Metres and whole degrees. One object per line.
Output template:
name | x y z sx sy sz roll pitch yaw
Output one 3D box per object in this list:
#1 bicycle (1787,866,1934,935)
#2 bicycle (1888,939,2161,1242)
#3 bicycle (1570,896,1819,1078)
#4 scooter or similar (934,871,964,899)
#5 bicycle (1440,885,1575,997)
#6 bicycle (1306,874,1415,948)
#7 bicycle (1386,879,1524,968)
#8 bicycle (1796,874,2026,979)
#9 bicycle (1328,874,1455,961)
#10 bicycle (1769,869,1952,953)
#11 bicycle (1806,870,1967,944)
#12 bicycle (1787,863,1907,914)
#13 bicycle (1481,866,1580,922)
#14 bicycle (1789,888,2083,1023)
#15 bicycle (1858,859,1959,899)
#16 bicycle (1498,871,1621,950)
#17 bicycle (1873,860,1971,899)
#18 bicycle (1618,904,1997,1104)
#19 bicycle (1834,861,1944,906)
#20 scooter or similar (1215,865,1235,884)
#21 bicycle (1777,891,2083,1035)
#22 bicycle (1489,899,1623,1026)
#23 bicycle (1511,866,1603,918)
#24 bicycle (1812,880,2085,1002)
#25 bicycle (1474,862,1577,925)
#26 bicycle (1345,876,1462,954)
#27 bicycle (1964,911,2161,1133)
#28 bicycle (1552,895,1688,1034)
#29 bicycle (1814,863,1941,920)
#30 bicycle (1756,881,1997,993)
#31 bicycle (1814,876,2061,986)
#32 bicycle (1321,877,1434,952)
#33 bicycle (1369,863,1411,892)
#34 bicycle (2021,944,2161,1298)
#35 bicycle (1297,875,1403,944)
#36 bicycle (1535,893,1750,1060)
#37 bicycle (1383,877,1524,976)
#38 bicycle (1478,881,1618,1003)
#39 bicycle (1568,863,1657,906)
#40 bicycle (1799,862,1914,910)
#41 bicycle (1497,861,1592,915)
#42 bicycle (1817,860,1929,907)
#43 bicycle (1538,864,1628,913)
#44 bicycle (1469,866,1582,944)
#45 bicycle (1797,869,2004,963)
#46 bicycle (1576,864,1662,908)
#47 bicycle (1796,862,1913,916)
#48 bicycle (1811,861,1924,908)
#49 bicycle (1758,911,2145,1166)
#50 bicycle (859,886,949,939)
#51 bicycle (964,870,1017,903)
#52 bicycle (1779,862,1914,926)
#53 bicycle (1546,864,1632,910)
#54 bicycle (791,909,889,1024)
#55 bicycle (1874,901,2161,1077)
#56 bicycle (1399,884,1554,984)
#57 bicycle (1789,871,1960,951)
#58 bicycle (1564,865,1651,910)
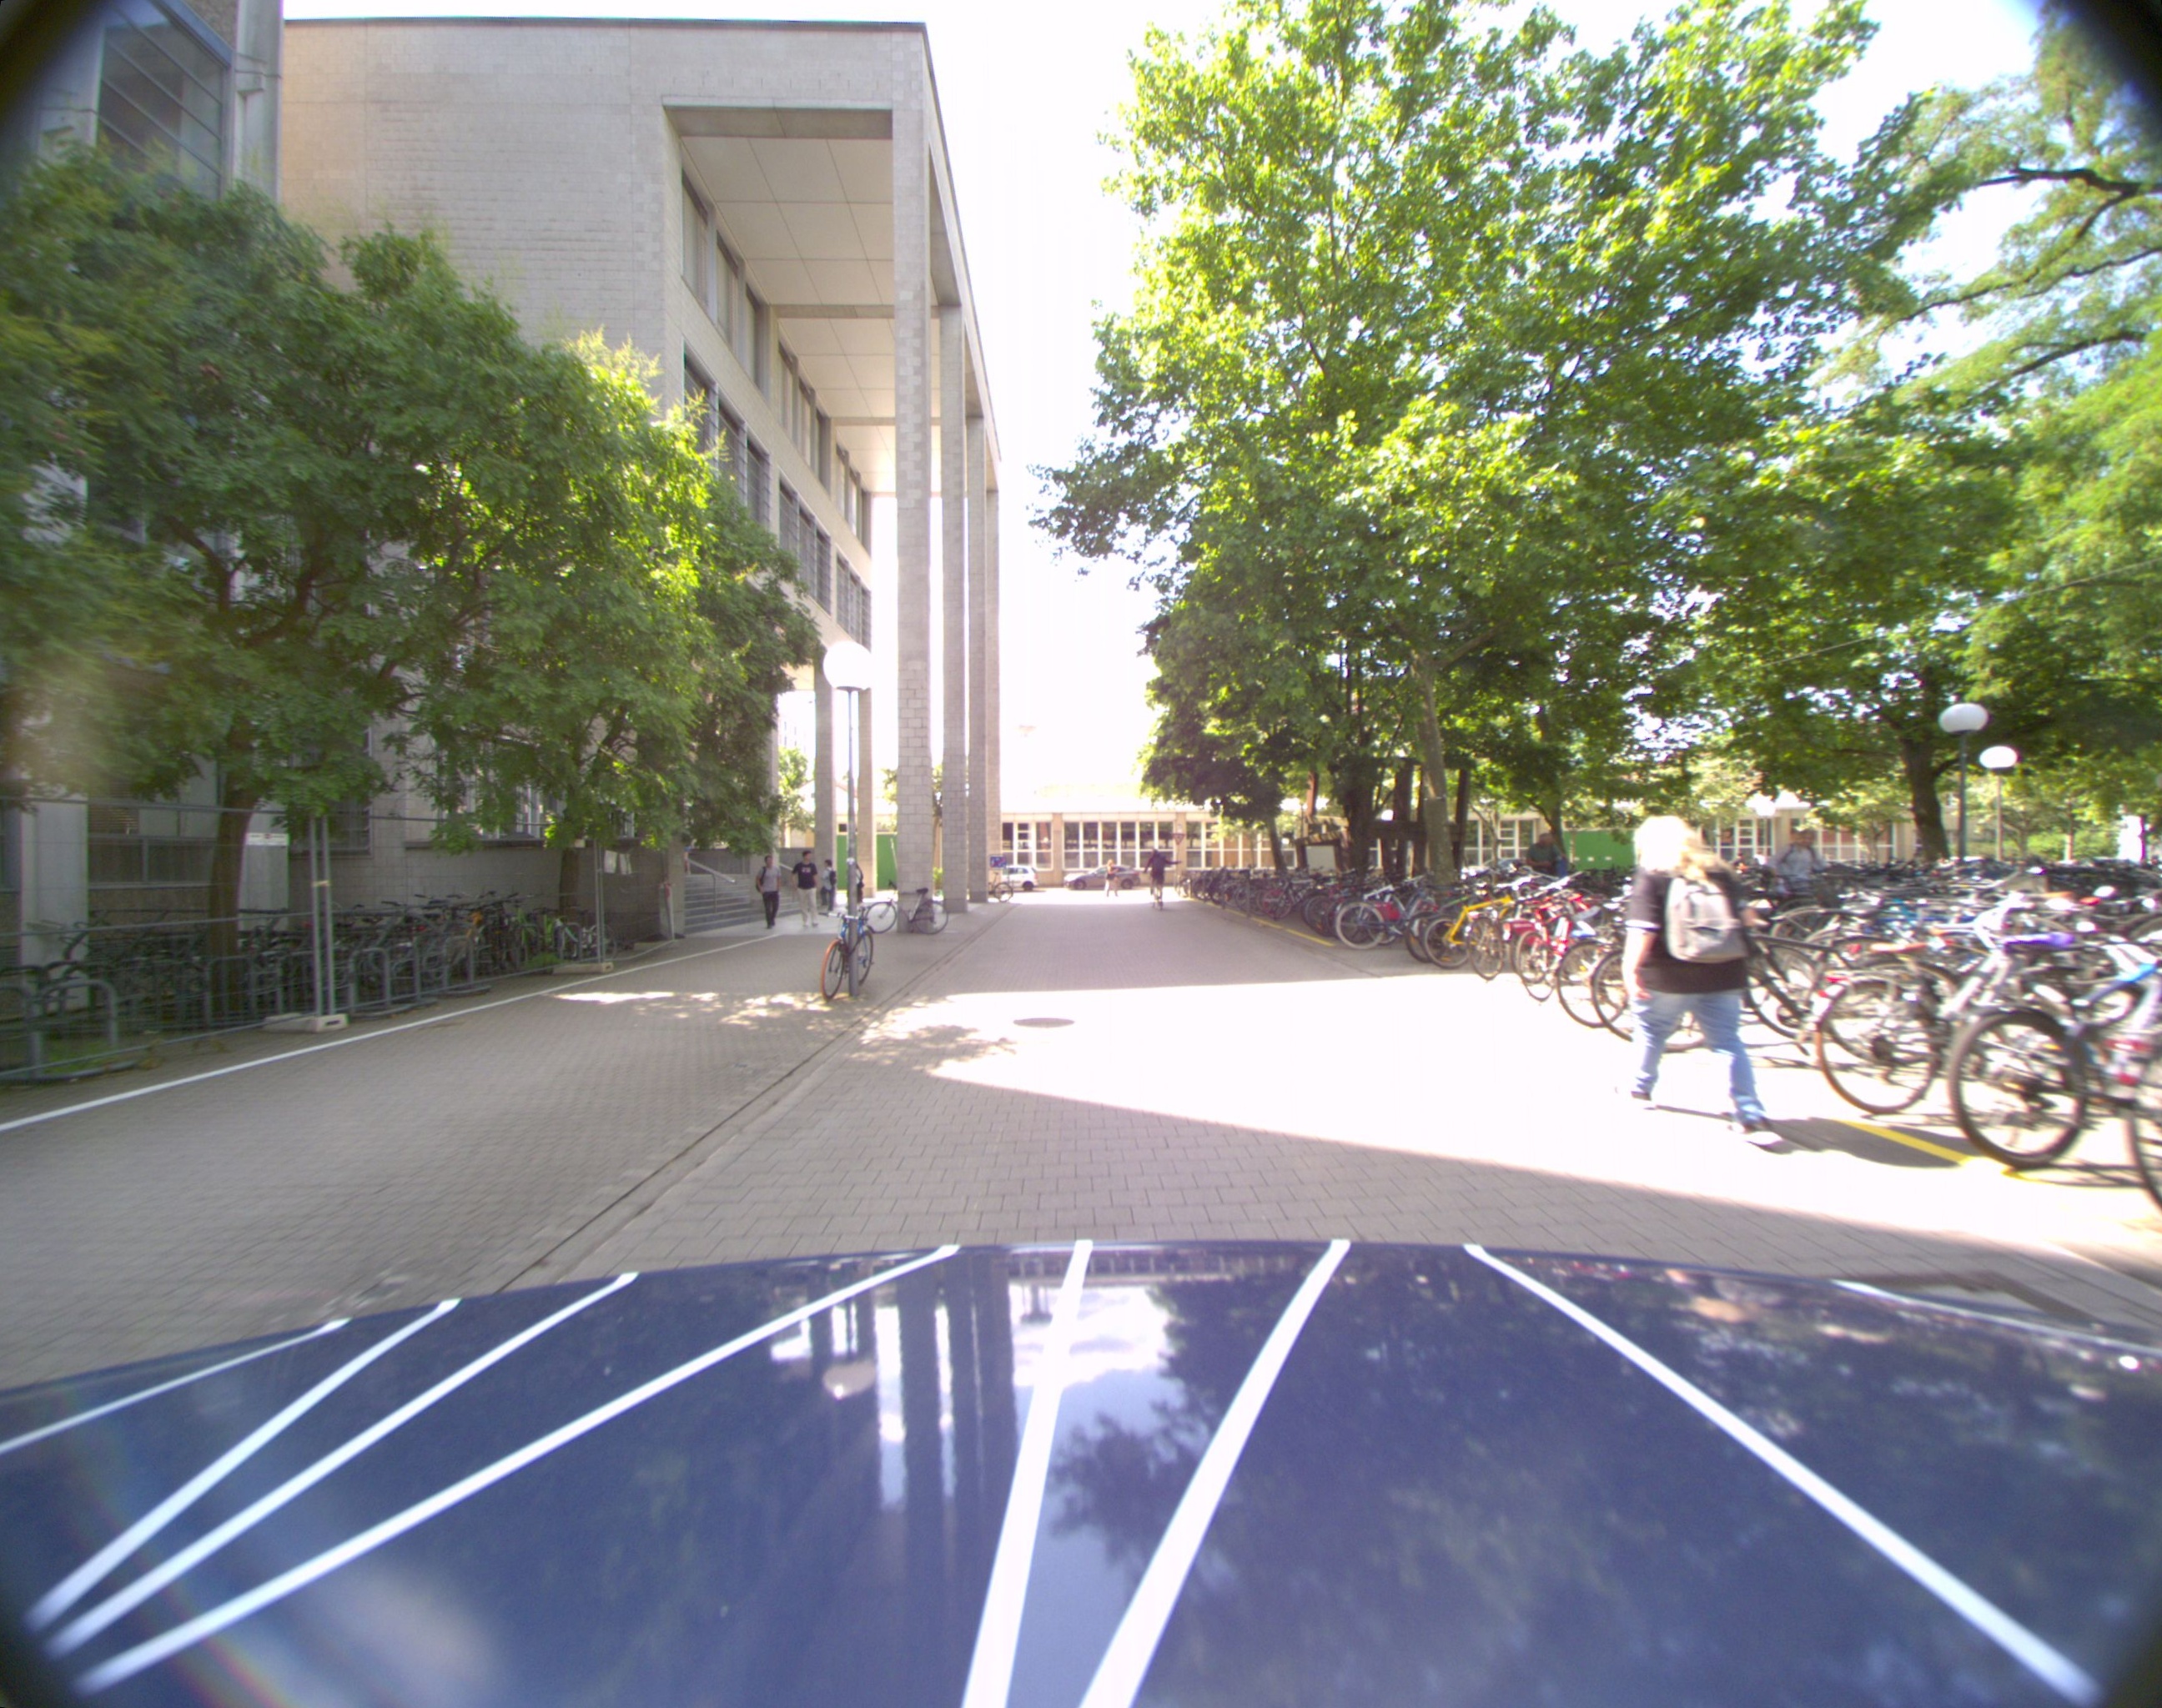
bicycle | 13.248 0.763 12.955 0.475 1.077 1.695 -2 1 -38
bicycle | 4.564 0.968 3.328 1.699 1.085 0.474 -2 1 -6
bicycle | 4.558 0.941 5.652 1.700 1.161 0.473 -2 1 -13
scooter or similar | -5.675 1.334 32.702 1.157 1.144 0.444 -1 0 4
bicycle | 4.903 0.955 8.708 1.702 1.101 0.473 -2 1 -27
bicycle | 4.695 0.935 12.779 1.700 1.139 0.473 -2 1 -12
bicycle | 5.170 0.942 10.522 1.700 1.101 0.565 -2 1 -12
bicycle | 9.349 0.788 8.655 1.695 1.077 0.475 -2 1 35
bicycle | 4.631 0.930 11.348 1.699 1.191 0.536 -2 1 -9
bicycle | 10.690 0.761 10.498 1.695 1.077 0.475 -2 1 35
bicycle | 12.545 0.802 11.906 1.695 1.077 0.475 -2 1 44
bicycle | 17.277 0.766 17.180 0.475 1.077 1.854 -2 0 -38
bicycle | 9.247 0.811 15.646 1.695 1.101 0.504 -2 1 36
bicycle | 7.616 0.858 6.882 1.695 1.077 0.475 -2 1 35
bicycle | 23.068 0.690 21.218 0.475 1.077 1.854 -2 0 -38
bicycle | 7.347 0.846 11.670 1.700 1.101 0.502 -2 1 -12
bicycle | 24.194 0.720 21.893 0.475 1.077 1.854 -2 0 -38
bicycle | 4.621 0.935 4.942 1.778 1.161 0.474 -2 1 12
bicycle | 20.404 0.721 19.228 0.475 1.077 1.854 -2 0 -38
scooter or similar | 8.983 1.279 47.444 1.157 1.219 0.290 -1 0 3
bicycle | 6.859 0.869 6.212 1.696 1.077 0.474 -2 1 13
bicycle | 4.681 1.005 7.443 1.702 1.012 0.473 -2 1 -35
bicycle | 10.803 0.853 17.278 1.695 1.101 0.504 -2 1 40
bicycle | 8.407 0.809 7.461 1.695 1.077 0.475 -2 1 31
bicycle | 8.854 0.774 15.162 1.695 1.193 0.577 -2 1 36
bicycle | 5.075 0.941 11.951 1.700 1.101 0.473 -2 1 -12
bicycle | 5.888 0.911 4.016 0.508 1.077 1.700 -2 0 3
bicycle | 5.057 0.970 7.093 1.702 1.055 0.473 -2 1 -35
bicycle | 15.891 0.730 15.199 0.475 1.077 1.695 -2 1 -38
bicycle | 8.351 0.843 8.073 1.695 1.077 0.475 -2 1 31
bicycle | 9.148 0.788 8.212 1.695 1.077 0.475 -2 1 35
bicycle | 4.801 0.956 12.322 1.700 1.101 0.473 -2 1 -12
bicycle | 13.450 1.008 33.064 1.890 1.165 0.803 -1 0 -36
bicycle | 4.543 0.935 2.859 1.699 1.152 0.474 -2 1 -9
bicycle | 4.708 0.949 13.304 1.700 1.101 0.496 -2 1 -11
bicycle | 4.583 0.945 6.194 1.701 1.161 0.473 -2 1 -17
bicycle | 4.885 0.924 9.967 1.700 1.181 0.473 -2 1 -12
bicycle | 5.120 0.915 8.297 1.702 1.151 0.473 -2 1 -27
bicycle | 14.493 0.819 20.771 0.504 1.101 1.902 -2 0 -38
bicycle | 18.284 0.739 17.955 0.475 1.077 1.854 -2 0 -38
bicycle | 9.932 0.725 16.315 1.695 1.101 0.504 -2 1 36
bicycle | 19.464 0.712 18.712 0.475 1.077 1.854 -2 0 -38
bicycle | 11.813 0.798 17.905 1.695 1.101 0.633 -2 1 40
bicycle | 7.442 0.832 12.728 1.700 1.213 0.502 -2 1 -12
bicycle | 10.167 0.743 9.511 1.695 1.077 0.475 -2 1 35
bicycle | 14.240 0.843 20.168 0.504 1.101 1.775 -2 0 -38
bicycle | 16.490 0.731 16.228 0.475 1.077 1.695 -2 1 -38
bicycle | 19.020 0.721 18.422 0.475 1.077 1.854 -2 0 -38
bicycle | 4.652 0.939 4.090 1.699 1.161 0.474 -2 1 -6
bicycle | -3.613 1.186 15.561 1.744 1.033 0.449 0 -1 -5
bicycle | -3.317 1.190 27.993 1.886 1.157 0.605 1 -1 -5
bicycle | 13.986 0.706 13.928 0.475 1.077 1.695 -2 1 -38
bicycle | 12.585 0.807 18.847 1.695 1.101 0.504 -2 1 40
bicycle | -2.688 1.216 8.665 0.538 1.033 1.858 0 0 -1
bicycle | 6.578 0.888 5.137 1.697 1.077 0.474 -2 1 12
bicycle | 4.898 0.962 9.440 1.700 1.101 0.582 -2 1 -12
bicycle | 11.563 0.806 11.143 1.695 1.077 0.475 -2 1 44
bicycle | 13.654 0.841 19.739 0.504 1.101 1.775 -2 0 -38
